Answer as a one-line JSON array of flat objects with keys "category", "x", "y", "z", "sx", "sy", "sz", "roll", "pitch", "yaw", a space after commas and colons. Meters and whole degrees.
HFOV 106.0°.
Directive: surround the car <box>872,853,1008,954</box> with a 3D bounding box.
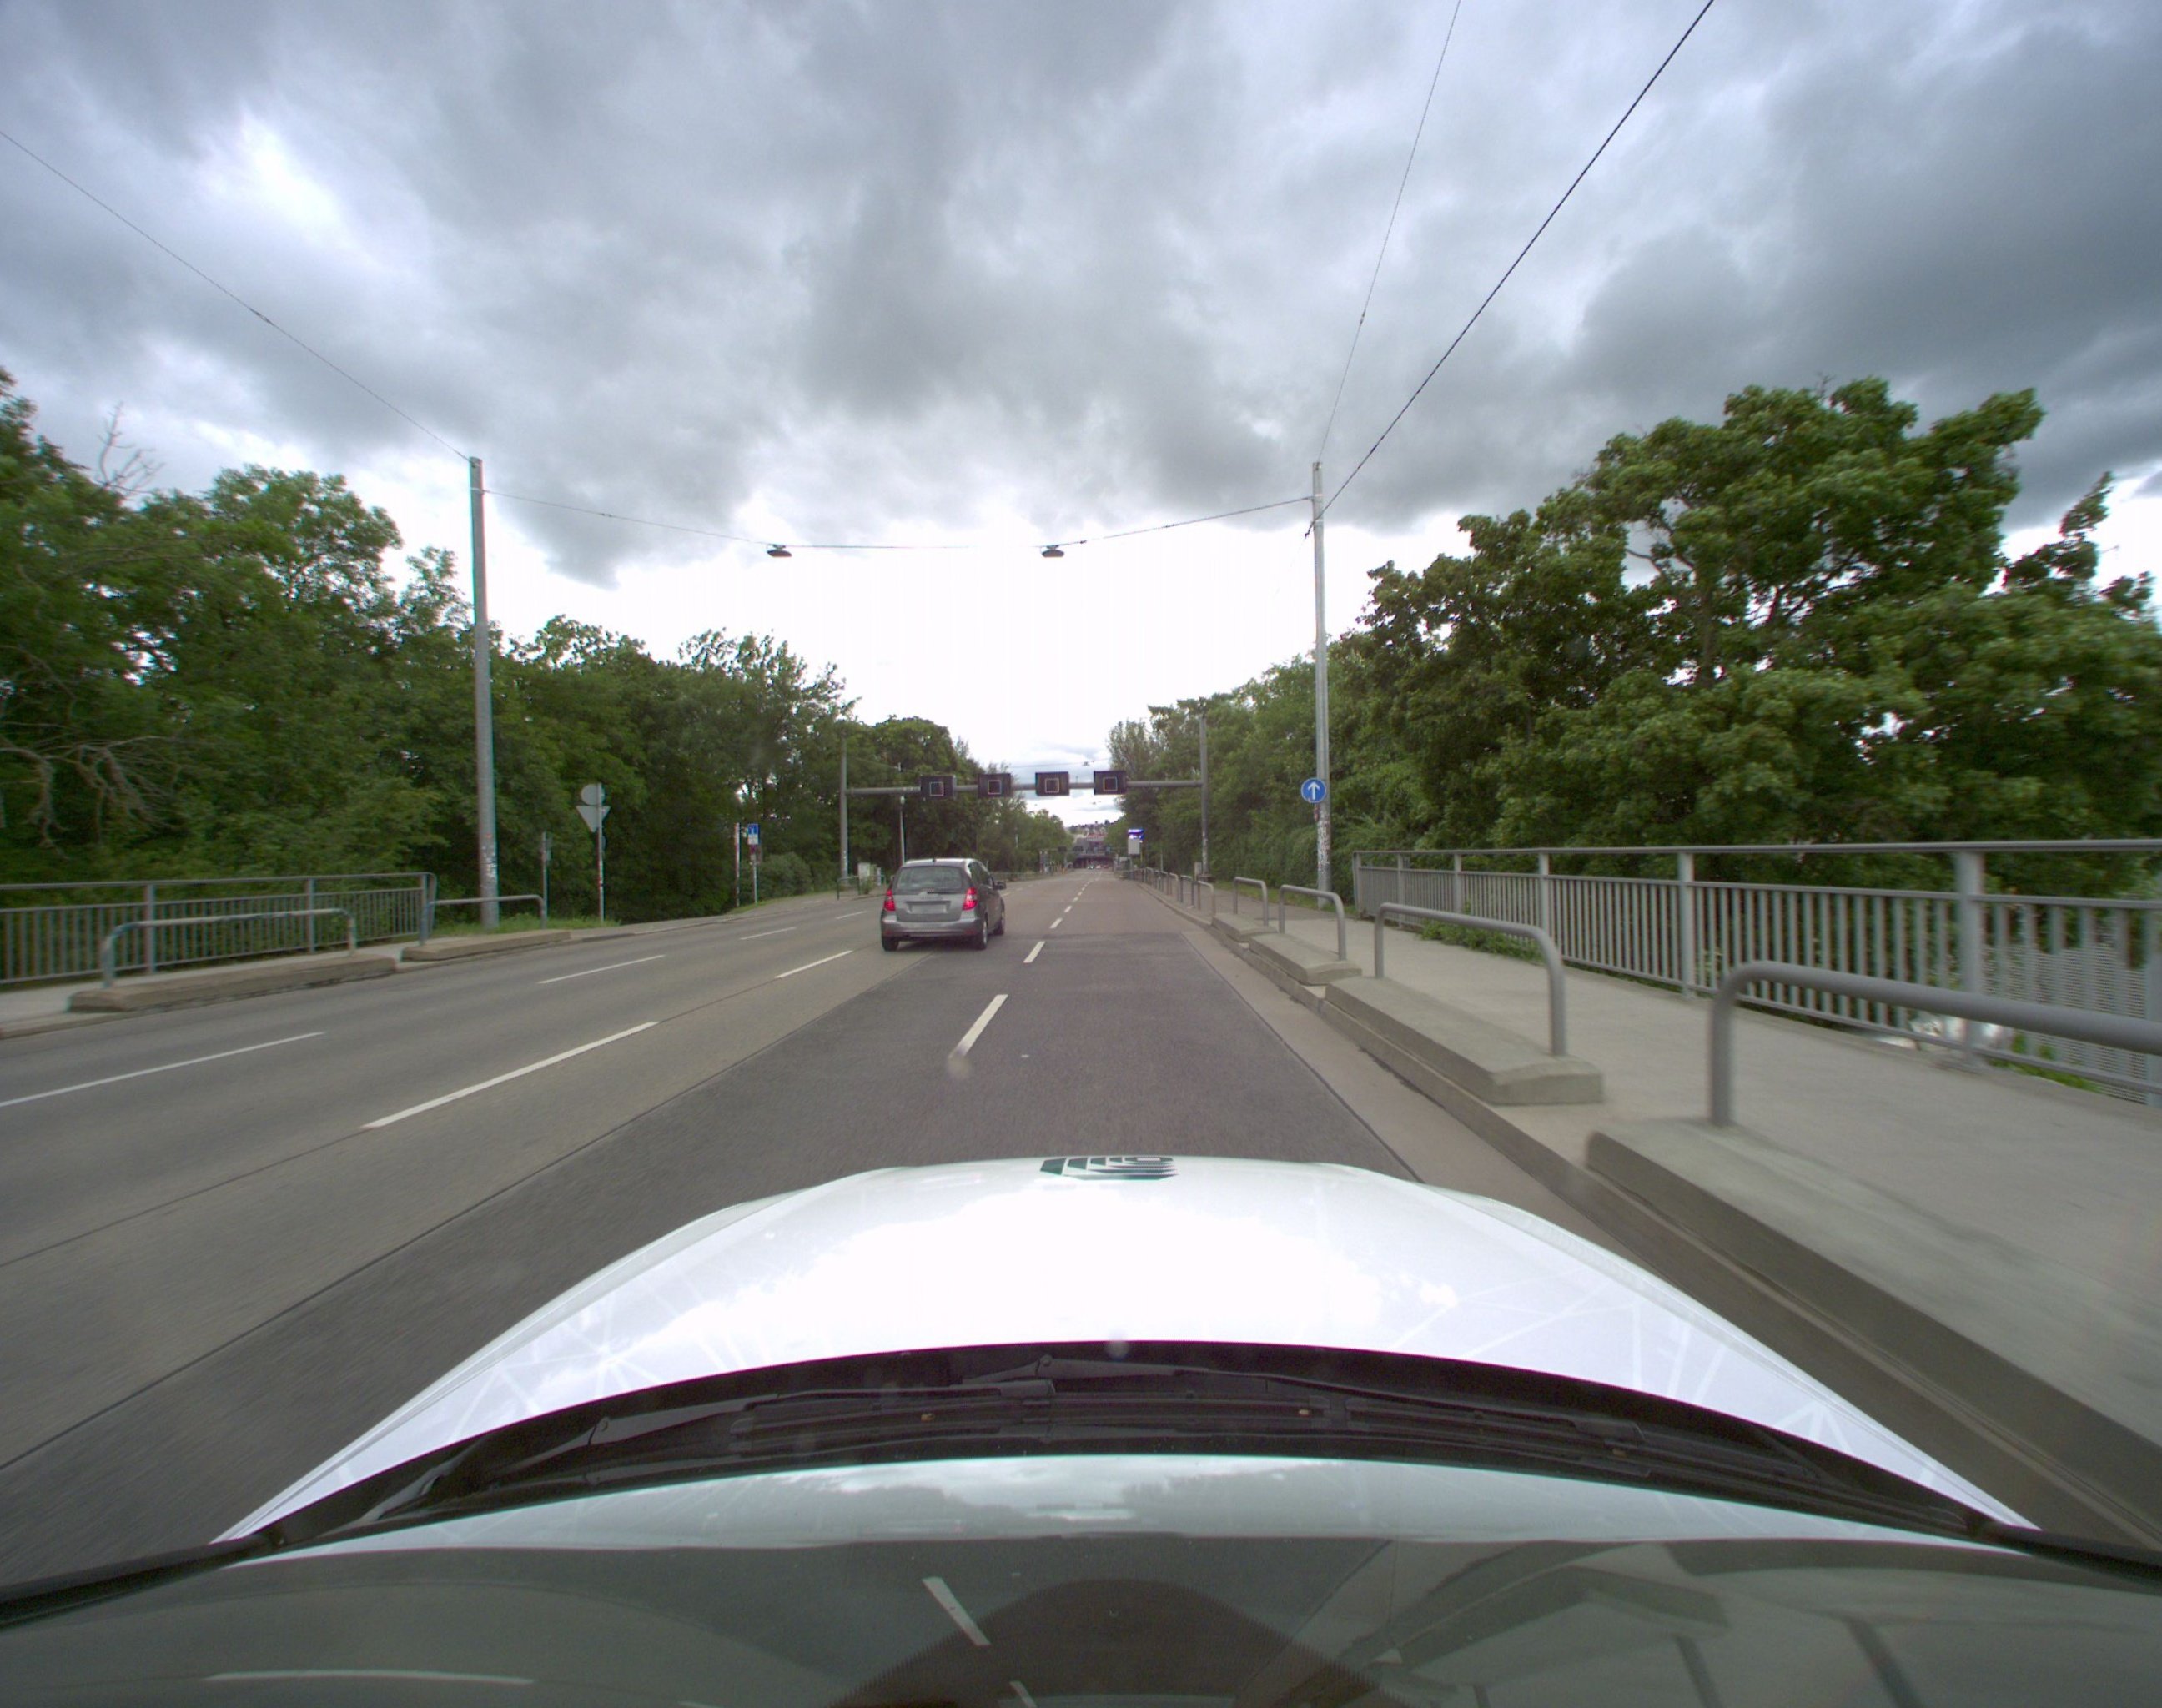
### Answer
[{"category": "car", "x": -2.451, "y": 0.803, "z": 15.082, "sx": 1.739, "sy": 1.550, "sz": 3.872, "roll": 0, "pitch": 1, "yaw": 1}]
